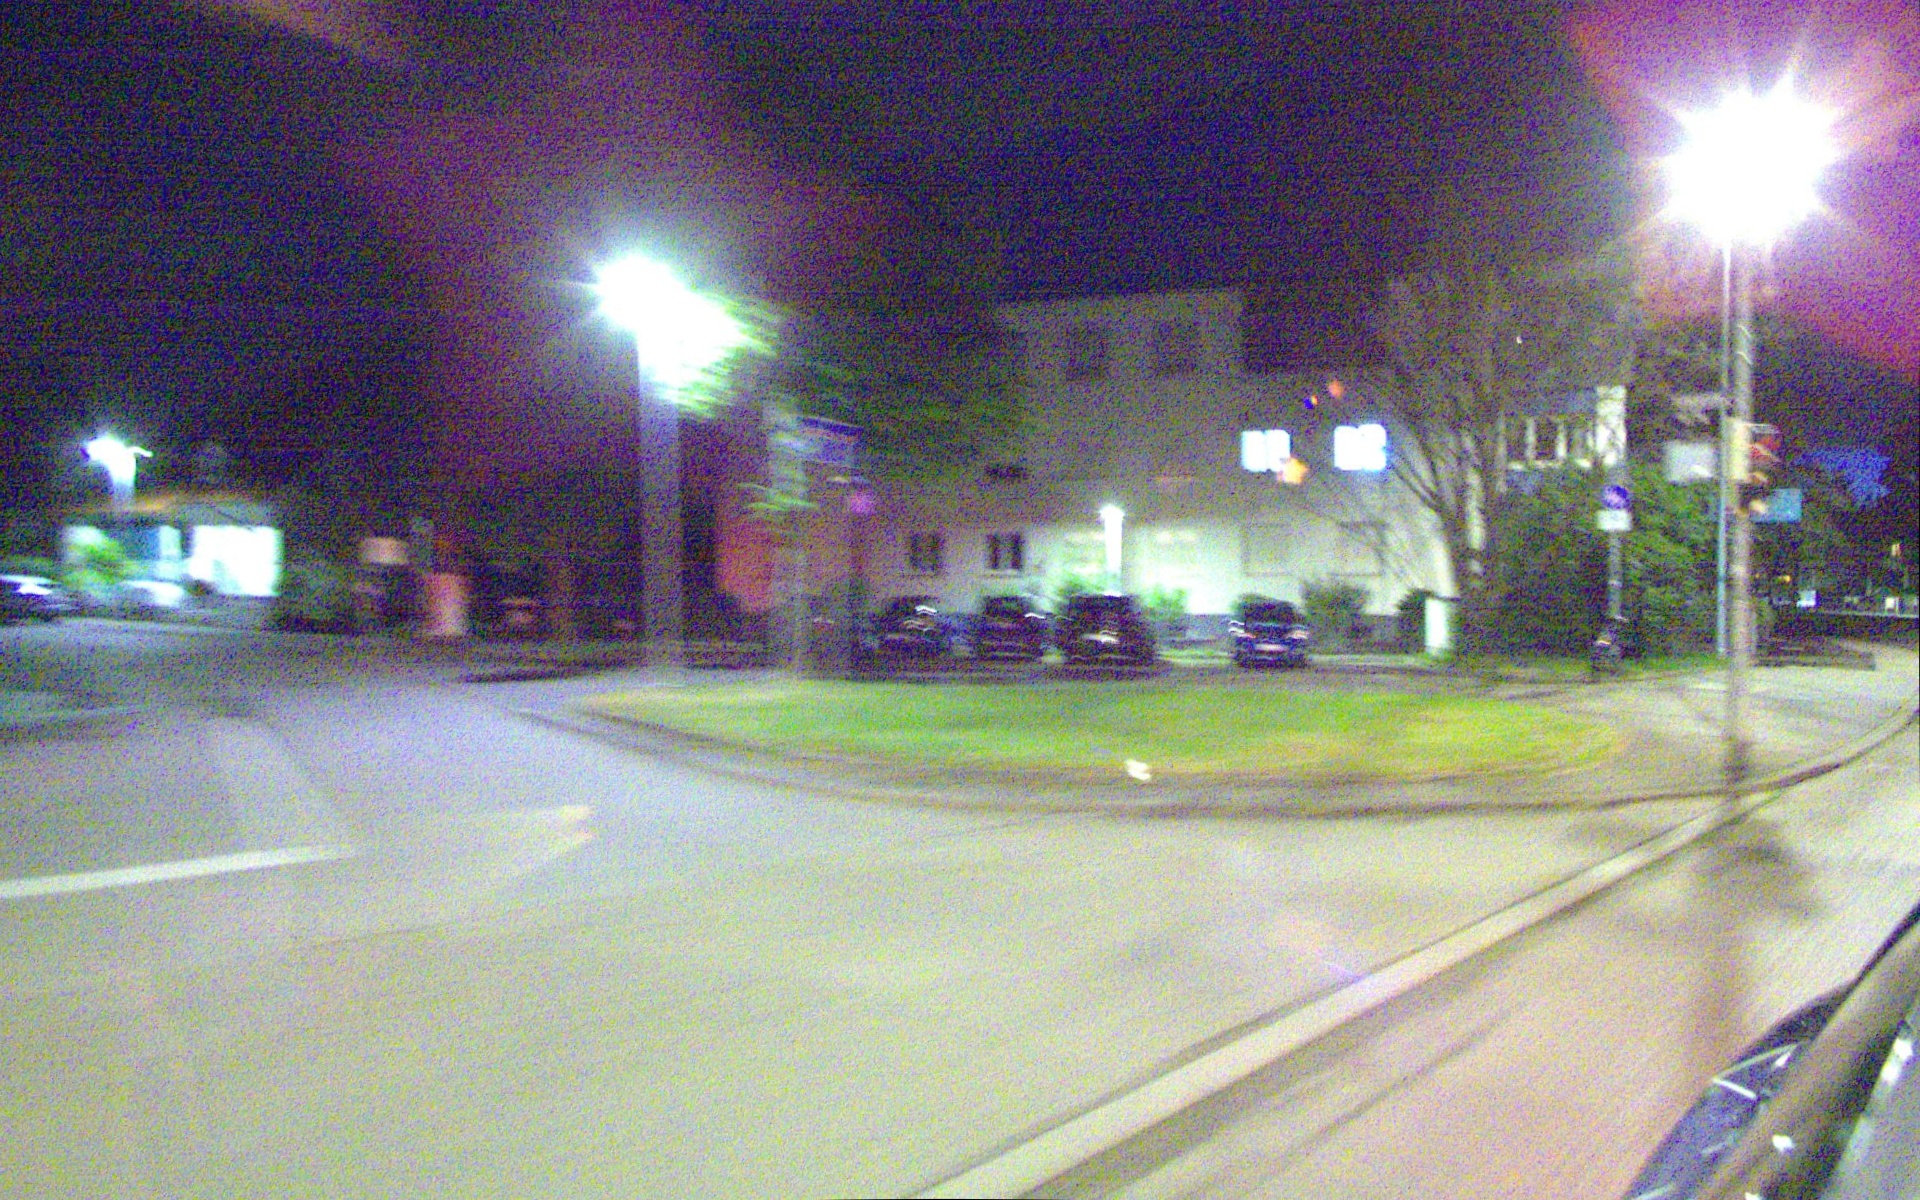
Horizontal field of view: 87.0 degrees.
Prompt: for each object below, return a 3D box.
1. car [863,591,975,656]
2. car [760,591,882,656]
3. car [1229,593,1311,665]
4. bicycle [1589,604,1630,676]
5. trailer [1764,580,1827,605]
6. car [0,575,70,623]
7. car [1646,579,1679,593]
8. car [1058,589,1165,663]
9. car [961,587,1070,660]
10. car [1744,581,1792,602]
[{"bbox_3d":[-0.960,0.547,25.926,1.738,1.534,3.850,0,0,17],"label":"car"},{"bbox_3d":[-3.540,0.551,26.460,1.738,1.563,3.850,0,0,17],"label":"car"},{"bbox_3d":[7.190,0.618,23.509,1.685,1.524,3.573,-1,0,17],"label":"car"},{"bbox_3d":[10.597,0.617,16.490,0.295,0.994,1.917,0,3,41],"label":"bicycle"},{"bbox_3d":[68.554,-0.658,83.106,2.005,1.802,5.641,2,2,18],"label":"trailer"},{"bbox_3d":[-32.546,-0.047,34.417,3.818,1.564,1.752,0,0,18],"label":"car"},{"bbox_3d":[77.735,-1.580,112.045,1.711,1.381,4.124,2,3,17],"label":"car"},{"bbox_3d":[3.668,0.556,23.921,1.897,1.584,4.388,-1,0,17],"label":"car"},{"bbox_3d":[1.465,0.531,24.935,1.788,1.636,4.077,-1,0,16],"label":"car"},{"bbox_3d":[70.176,-0.780,87.988,1.701,1.596,4.509,3,3,19],"label":"car"}]
